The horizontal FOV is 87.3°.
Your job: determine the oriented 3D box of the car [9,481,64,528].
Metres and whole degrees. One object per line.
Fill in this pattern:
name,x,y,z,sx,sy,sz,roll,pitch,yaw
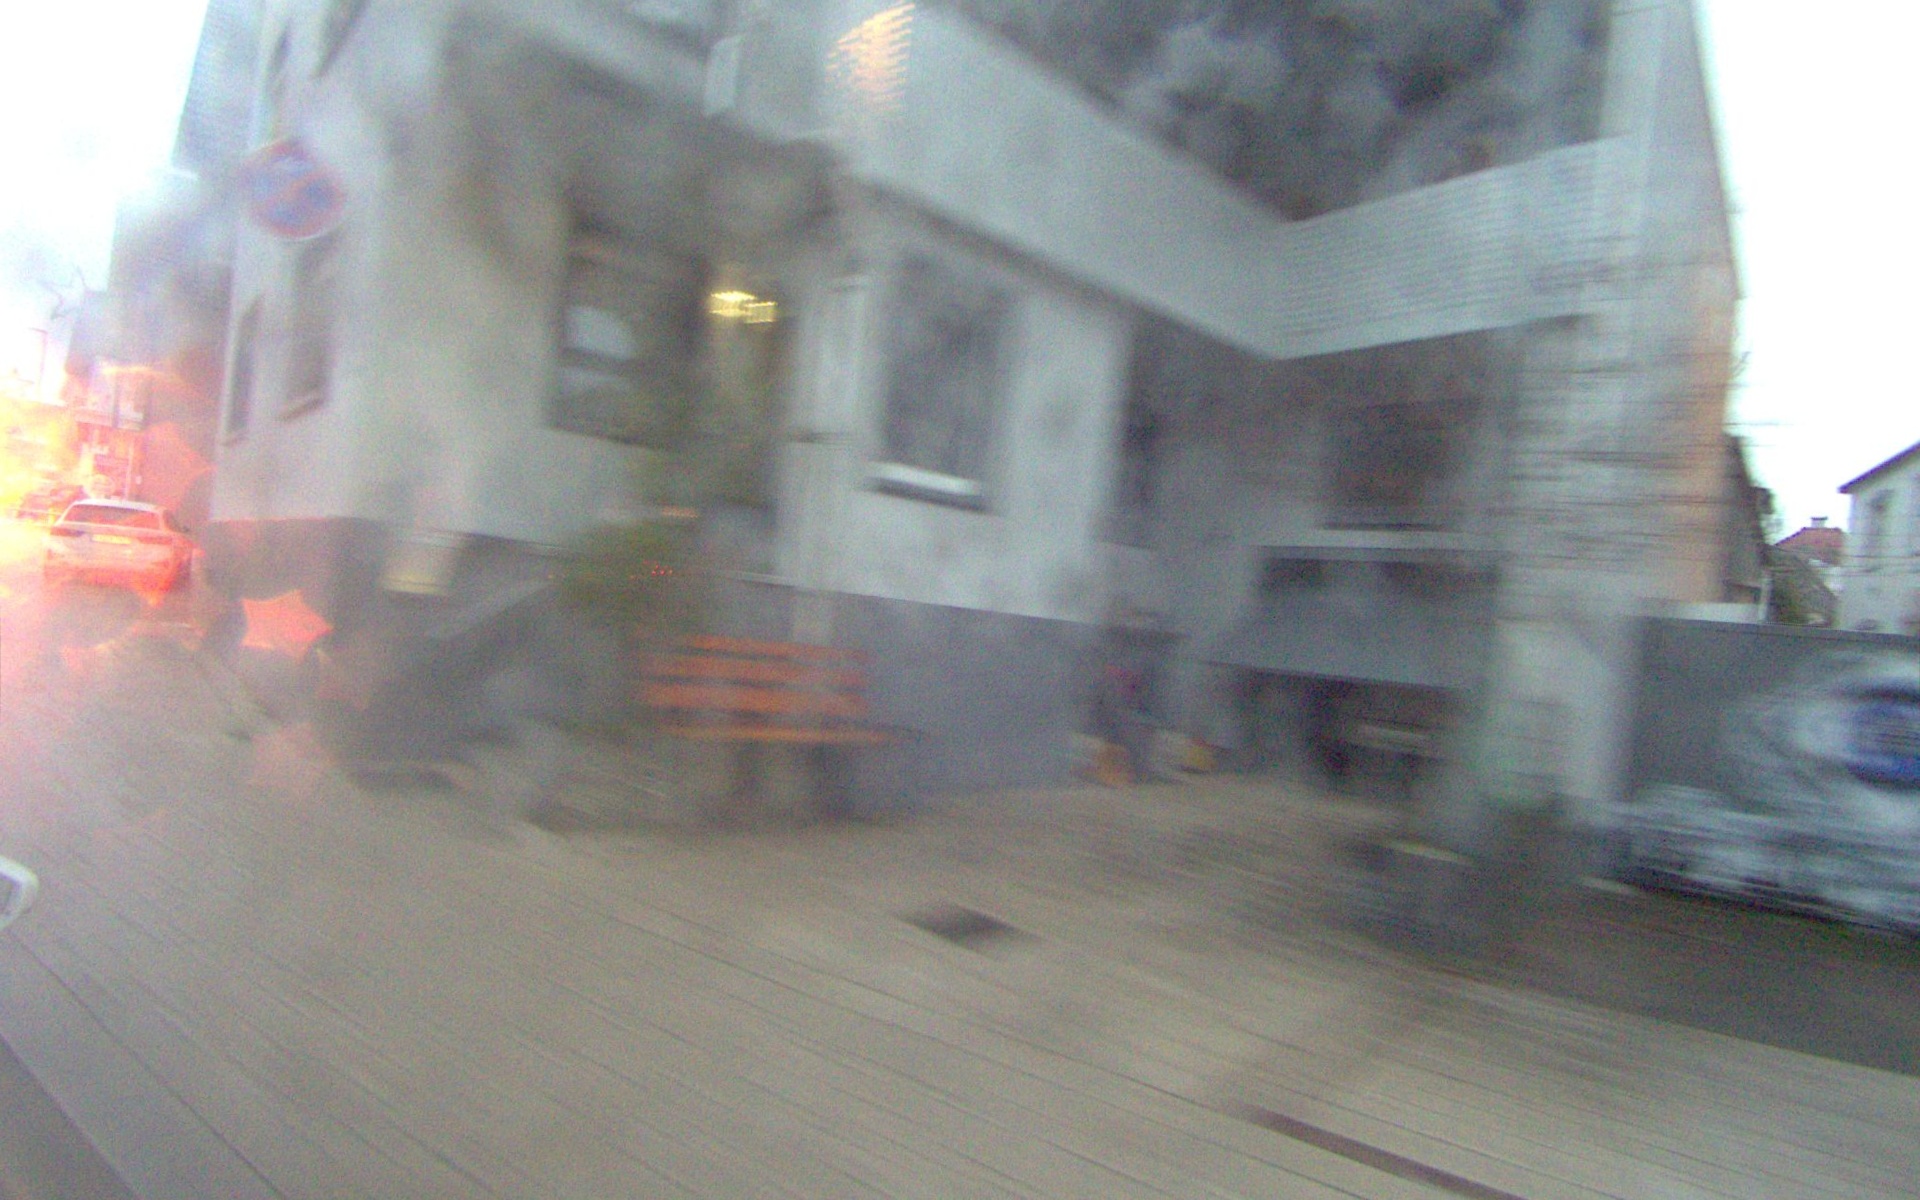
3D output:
car,-45.409,-4.707,49.443,3.946,2.040,1.637,7,2,43

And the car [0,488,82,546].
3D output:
car,-39.736,-3.590,42.591,3.685,2.037,1.670,9,-2,-42

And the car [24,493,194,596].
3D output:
car,-15.287,-1.030,18.305,1.872,1.485,4.498,5,1,-35
